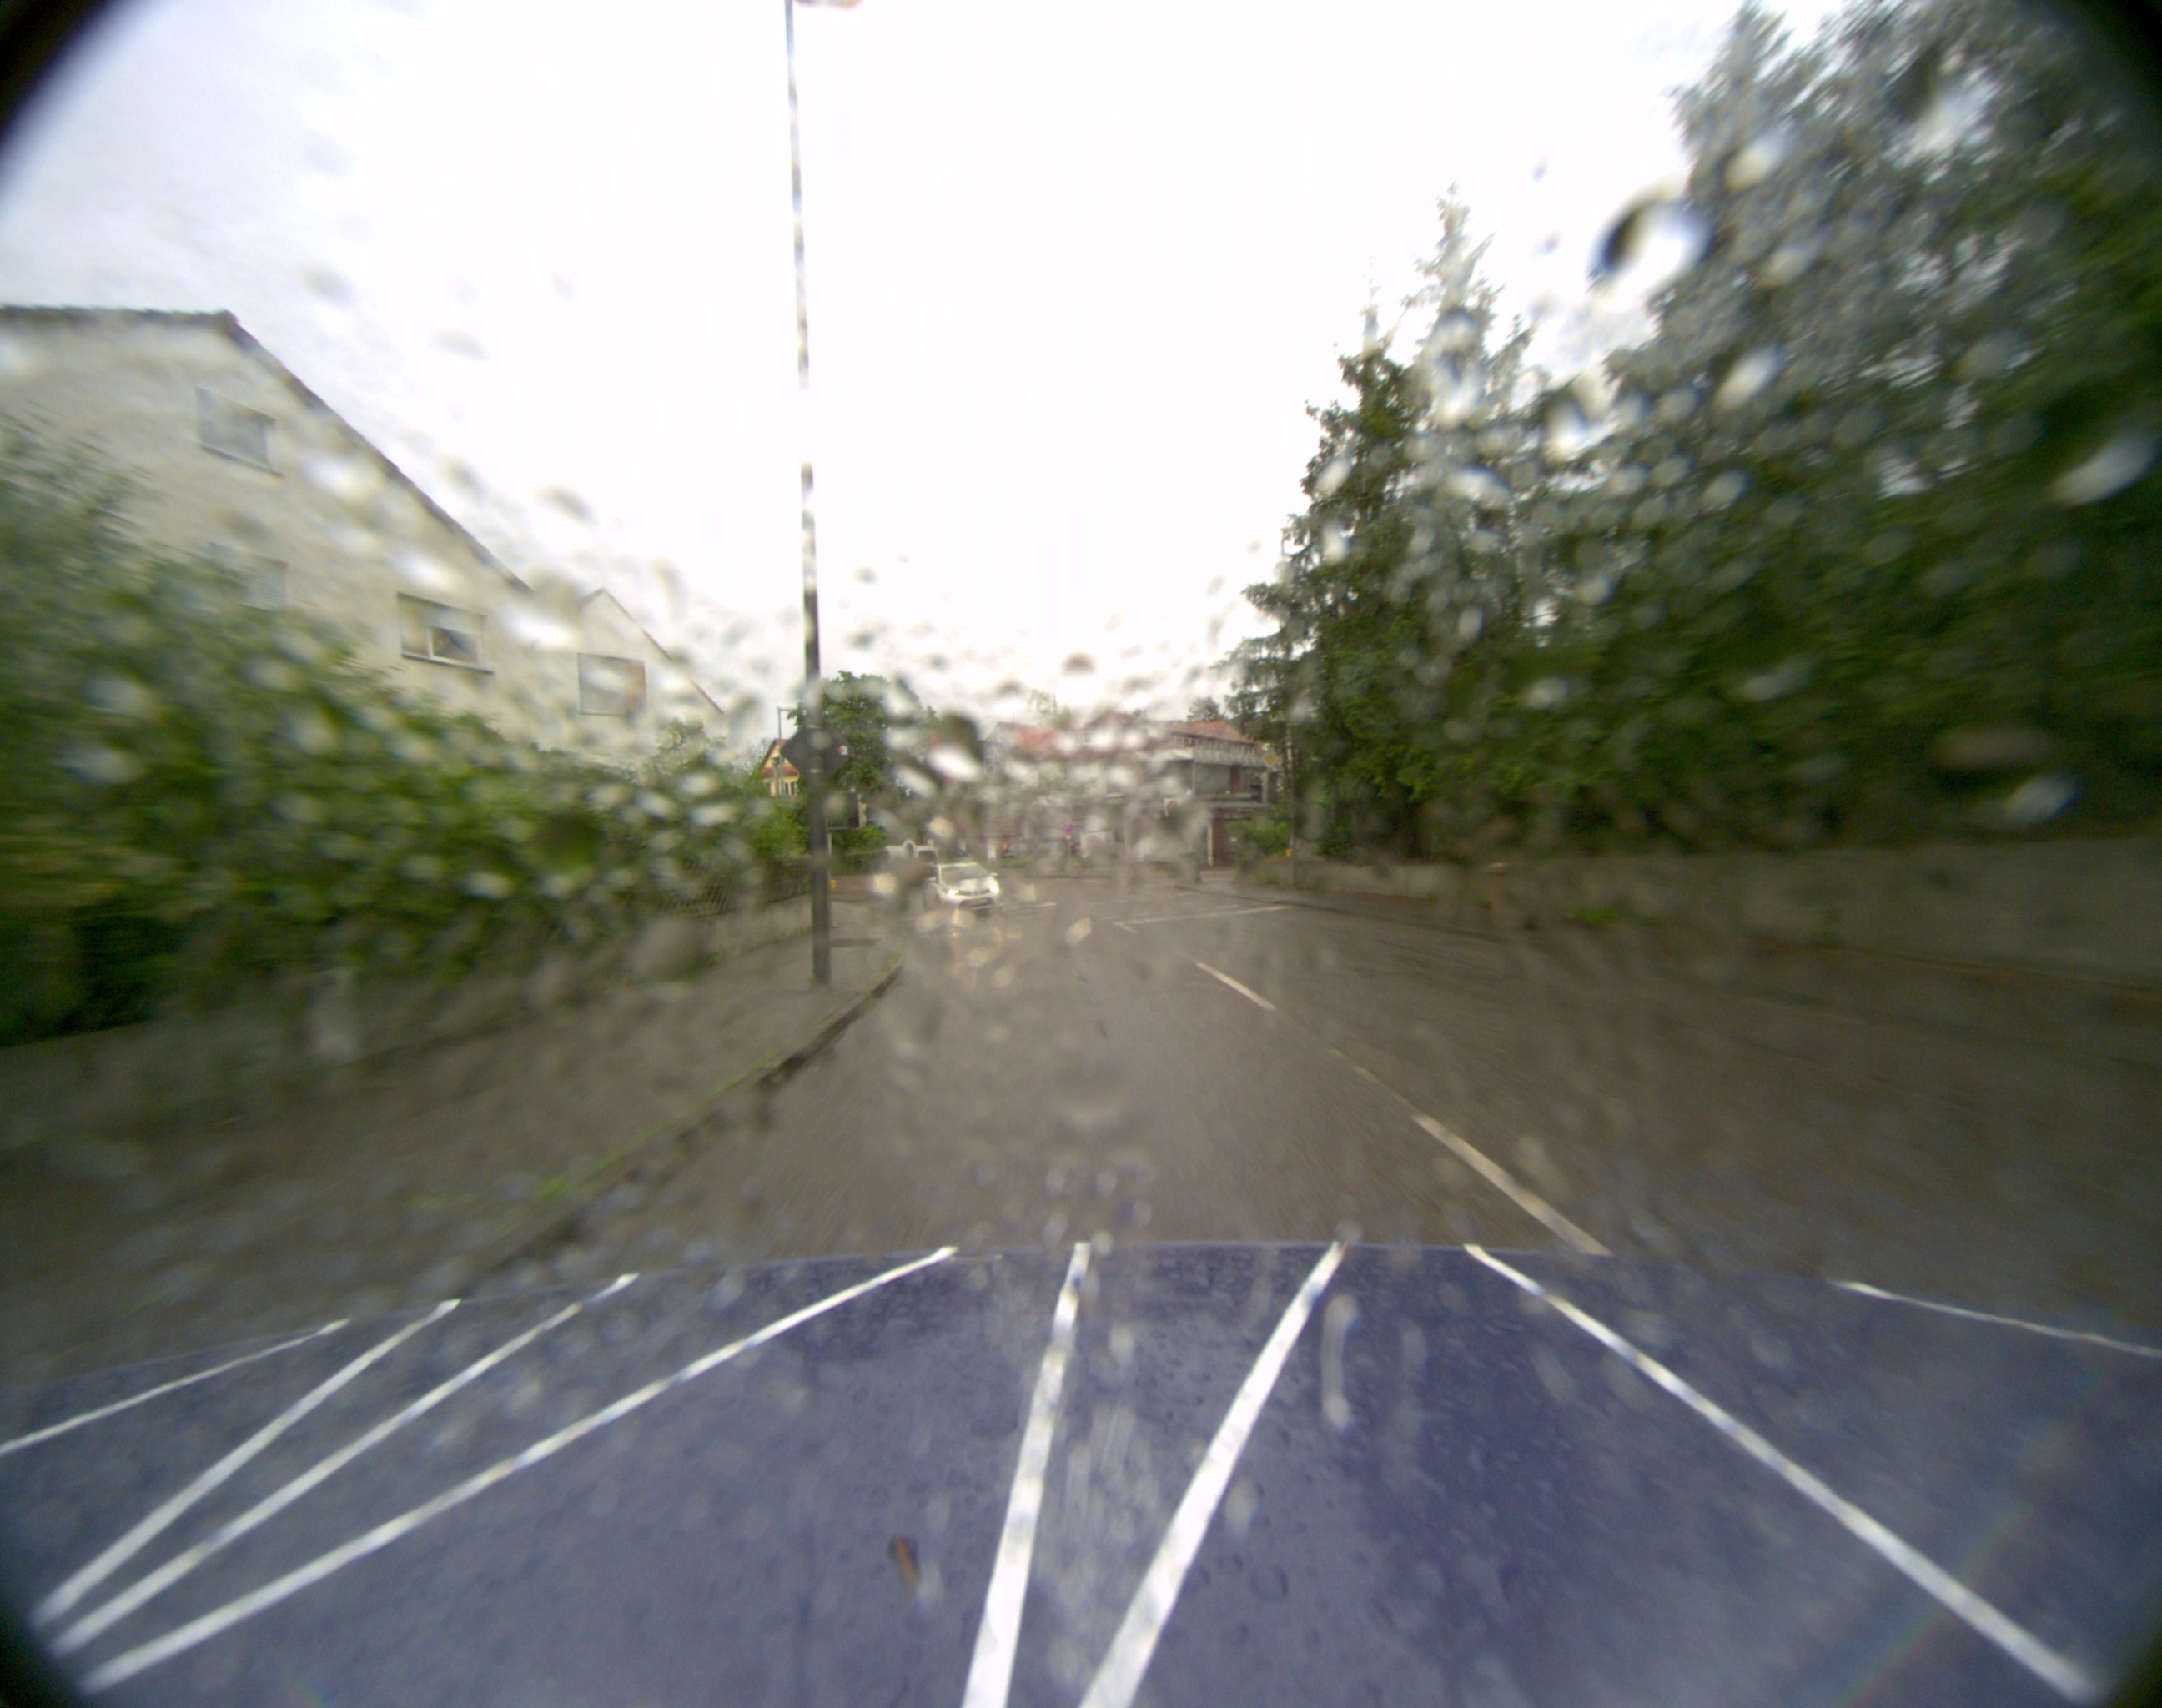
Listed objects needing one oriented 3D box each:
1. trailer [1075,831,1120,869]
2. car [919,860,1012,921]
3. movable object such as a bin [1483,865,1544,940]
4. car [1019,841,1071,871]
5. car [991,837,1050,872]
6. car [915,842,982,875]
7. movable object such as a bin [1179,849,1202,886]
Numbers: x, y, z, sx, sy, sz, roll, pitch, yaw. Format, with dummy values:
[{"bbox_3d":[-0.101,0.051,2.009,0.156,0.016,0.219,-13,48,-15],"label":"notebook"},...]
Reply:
[{"bbox_3d":[1.053,-0.278,45.778,1.950,2.091,3.963,-3,2,12],"label":"trailer"},{"bbox_3d":[-3.460,0.976,22.139,1.861,1.427,4.010,-7,2,-19],"label":"car"},{"bbox_3d":[6.032,0.662,10.616,0.501,0.973,0.490,-5,1,-5],"label":"movable object such as a bin"},{"bbox_3d":[-2.163,0.094,46.700,1.835,1.477,3.349,-3,3,23],"label":"car"},{"bbox_3d":[-3.808,0.015,48.427,1.795,1.765,4.094,-3,4,25],"label":"car"},{"bbox_3d":[-8.940,0.273,51.457,1.995,1.790,4.125,-2,4,36],"label":"car"},{"bbox_3d":[3.584,0.436,24.808,0.625,1.133,0.668,-4,3,5],"label":"movable object such as a bin"}]
